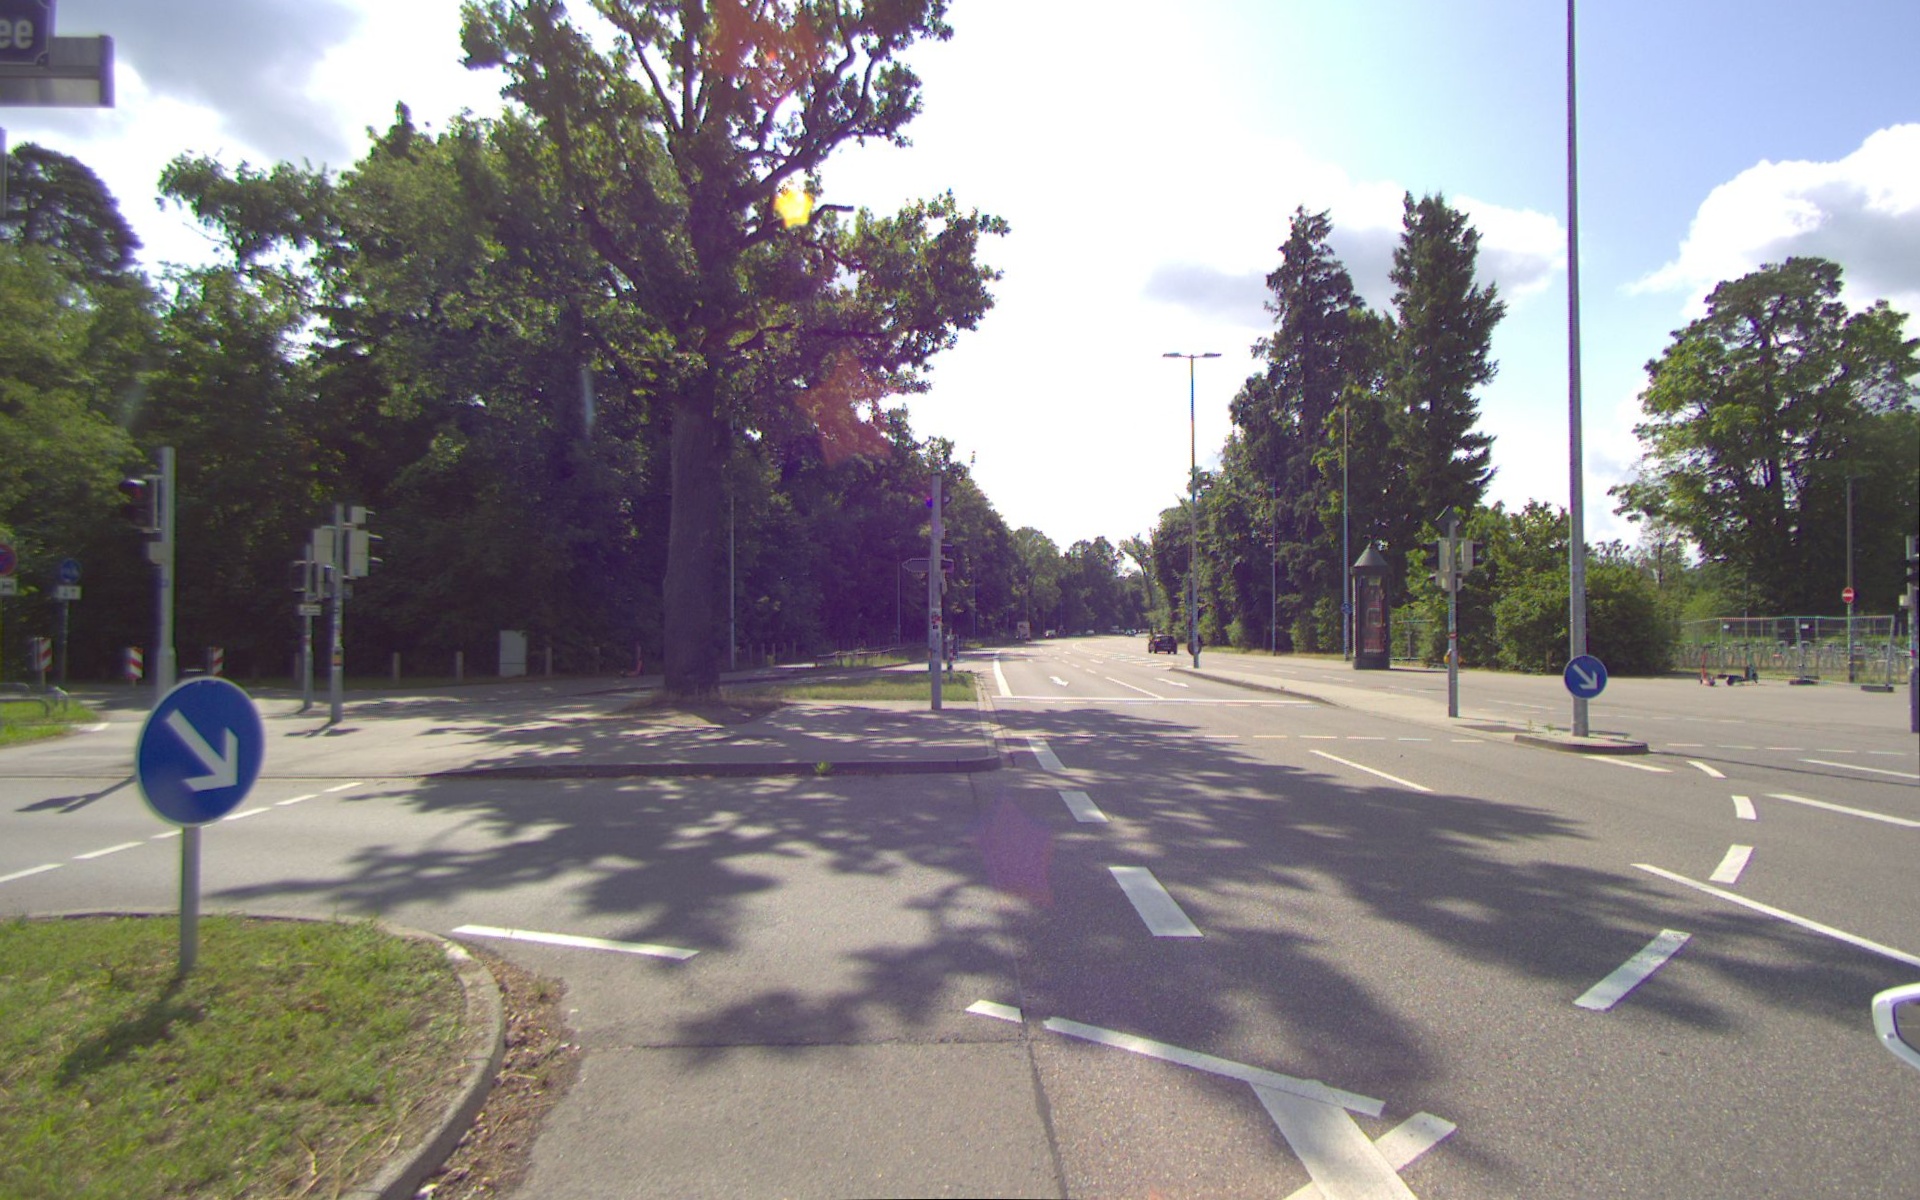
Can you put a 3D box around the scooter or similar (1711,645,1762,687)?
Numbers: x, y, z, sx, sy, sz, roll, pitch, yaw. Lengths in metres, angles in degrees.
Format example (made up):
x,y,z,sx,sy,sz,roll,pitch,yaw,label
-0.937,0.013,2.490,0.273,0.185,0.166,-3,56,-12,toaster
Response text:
x,y,z,sx,sy,sz,roll,pitch,yaw,label
23.635,2.006,30.587,1.287,1.268,0.407,0,-2,-7,scooter or similar

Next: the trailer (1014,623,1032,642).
x,y,z,sx,sy,sz,roll,pitch,yaw,label
8.070,4.154,128.186,1.959,2.420,4.003,1,-2,8,trailer

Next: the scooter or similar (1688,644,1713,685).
x,y,z,sx,sy,sz,roll,pitch,yaw,label
22.494,1.949,30.517,0.400,1.216,1.310,-2,-2,29,scooter or similar

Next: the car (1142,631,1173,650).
x,y,z,sx,sy,sz,roll,pitch,yaw,label
14.930,3.056,76.219,1.571,1.396,3.977,1,-2,0,car

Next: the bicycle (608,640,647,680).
x,y,z,sx,sy,sz,roll,pitch,yaw,label
-10.203,1.833,30.860,0.413,1.188,1.229,0,-2,22,bicycle

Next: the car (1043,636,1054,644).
x,y,z,sx,sy,sz,roll,pitch,yaw,label
15.641,7.028,176.529,1.478,1.465,3.532,1,-2,12,car

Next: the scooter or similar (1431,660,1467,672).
x,y,z,sx,sy,sz,roll,pitch,yaw,label
21.230,2.887,43.650,0.839,0.393,1.475,5,-6,-1,scooter or similar

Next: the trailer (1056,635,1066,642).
x,y,z,sx,sy,sz,roll,pitch,yaw,label
20.019,7.680,198.862,1.687,1.372,3.735,1,-2,12,trailer
